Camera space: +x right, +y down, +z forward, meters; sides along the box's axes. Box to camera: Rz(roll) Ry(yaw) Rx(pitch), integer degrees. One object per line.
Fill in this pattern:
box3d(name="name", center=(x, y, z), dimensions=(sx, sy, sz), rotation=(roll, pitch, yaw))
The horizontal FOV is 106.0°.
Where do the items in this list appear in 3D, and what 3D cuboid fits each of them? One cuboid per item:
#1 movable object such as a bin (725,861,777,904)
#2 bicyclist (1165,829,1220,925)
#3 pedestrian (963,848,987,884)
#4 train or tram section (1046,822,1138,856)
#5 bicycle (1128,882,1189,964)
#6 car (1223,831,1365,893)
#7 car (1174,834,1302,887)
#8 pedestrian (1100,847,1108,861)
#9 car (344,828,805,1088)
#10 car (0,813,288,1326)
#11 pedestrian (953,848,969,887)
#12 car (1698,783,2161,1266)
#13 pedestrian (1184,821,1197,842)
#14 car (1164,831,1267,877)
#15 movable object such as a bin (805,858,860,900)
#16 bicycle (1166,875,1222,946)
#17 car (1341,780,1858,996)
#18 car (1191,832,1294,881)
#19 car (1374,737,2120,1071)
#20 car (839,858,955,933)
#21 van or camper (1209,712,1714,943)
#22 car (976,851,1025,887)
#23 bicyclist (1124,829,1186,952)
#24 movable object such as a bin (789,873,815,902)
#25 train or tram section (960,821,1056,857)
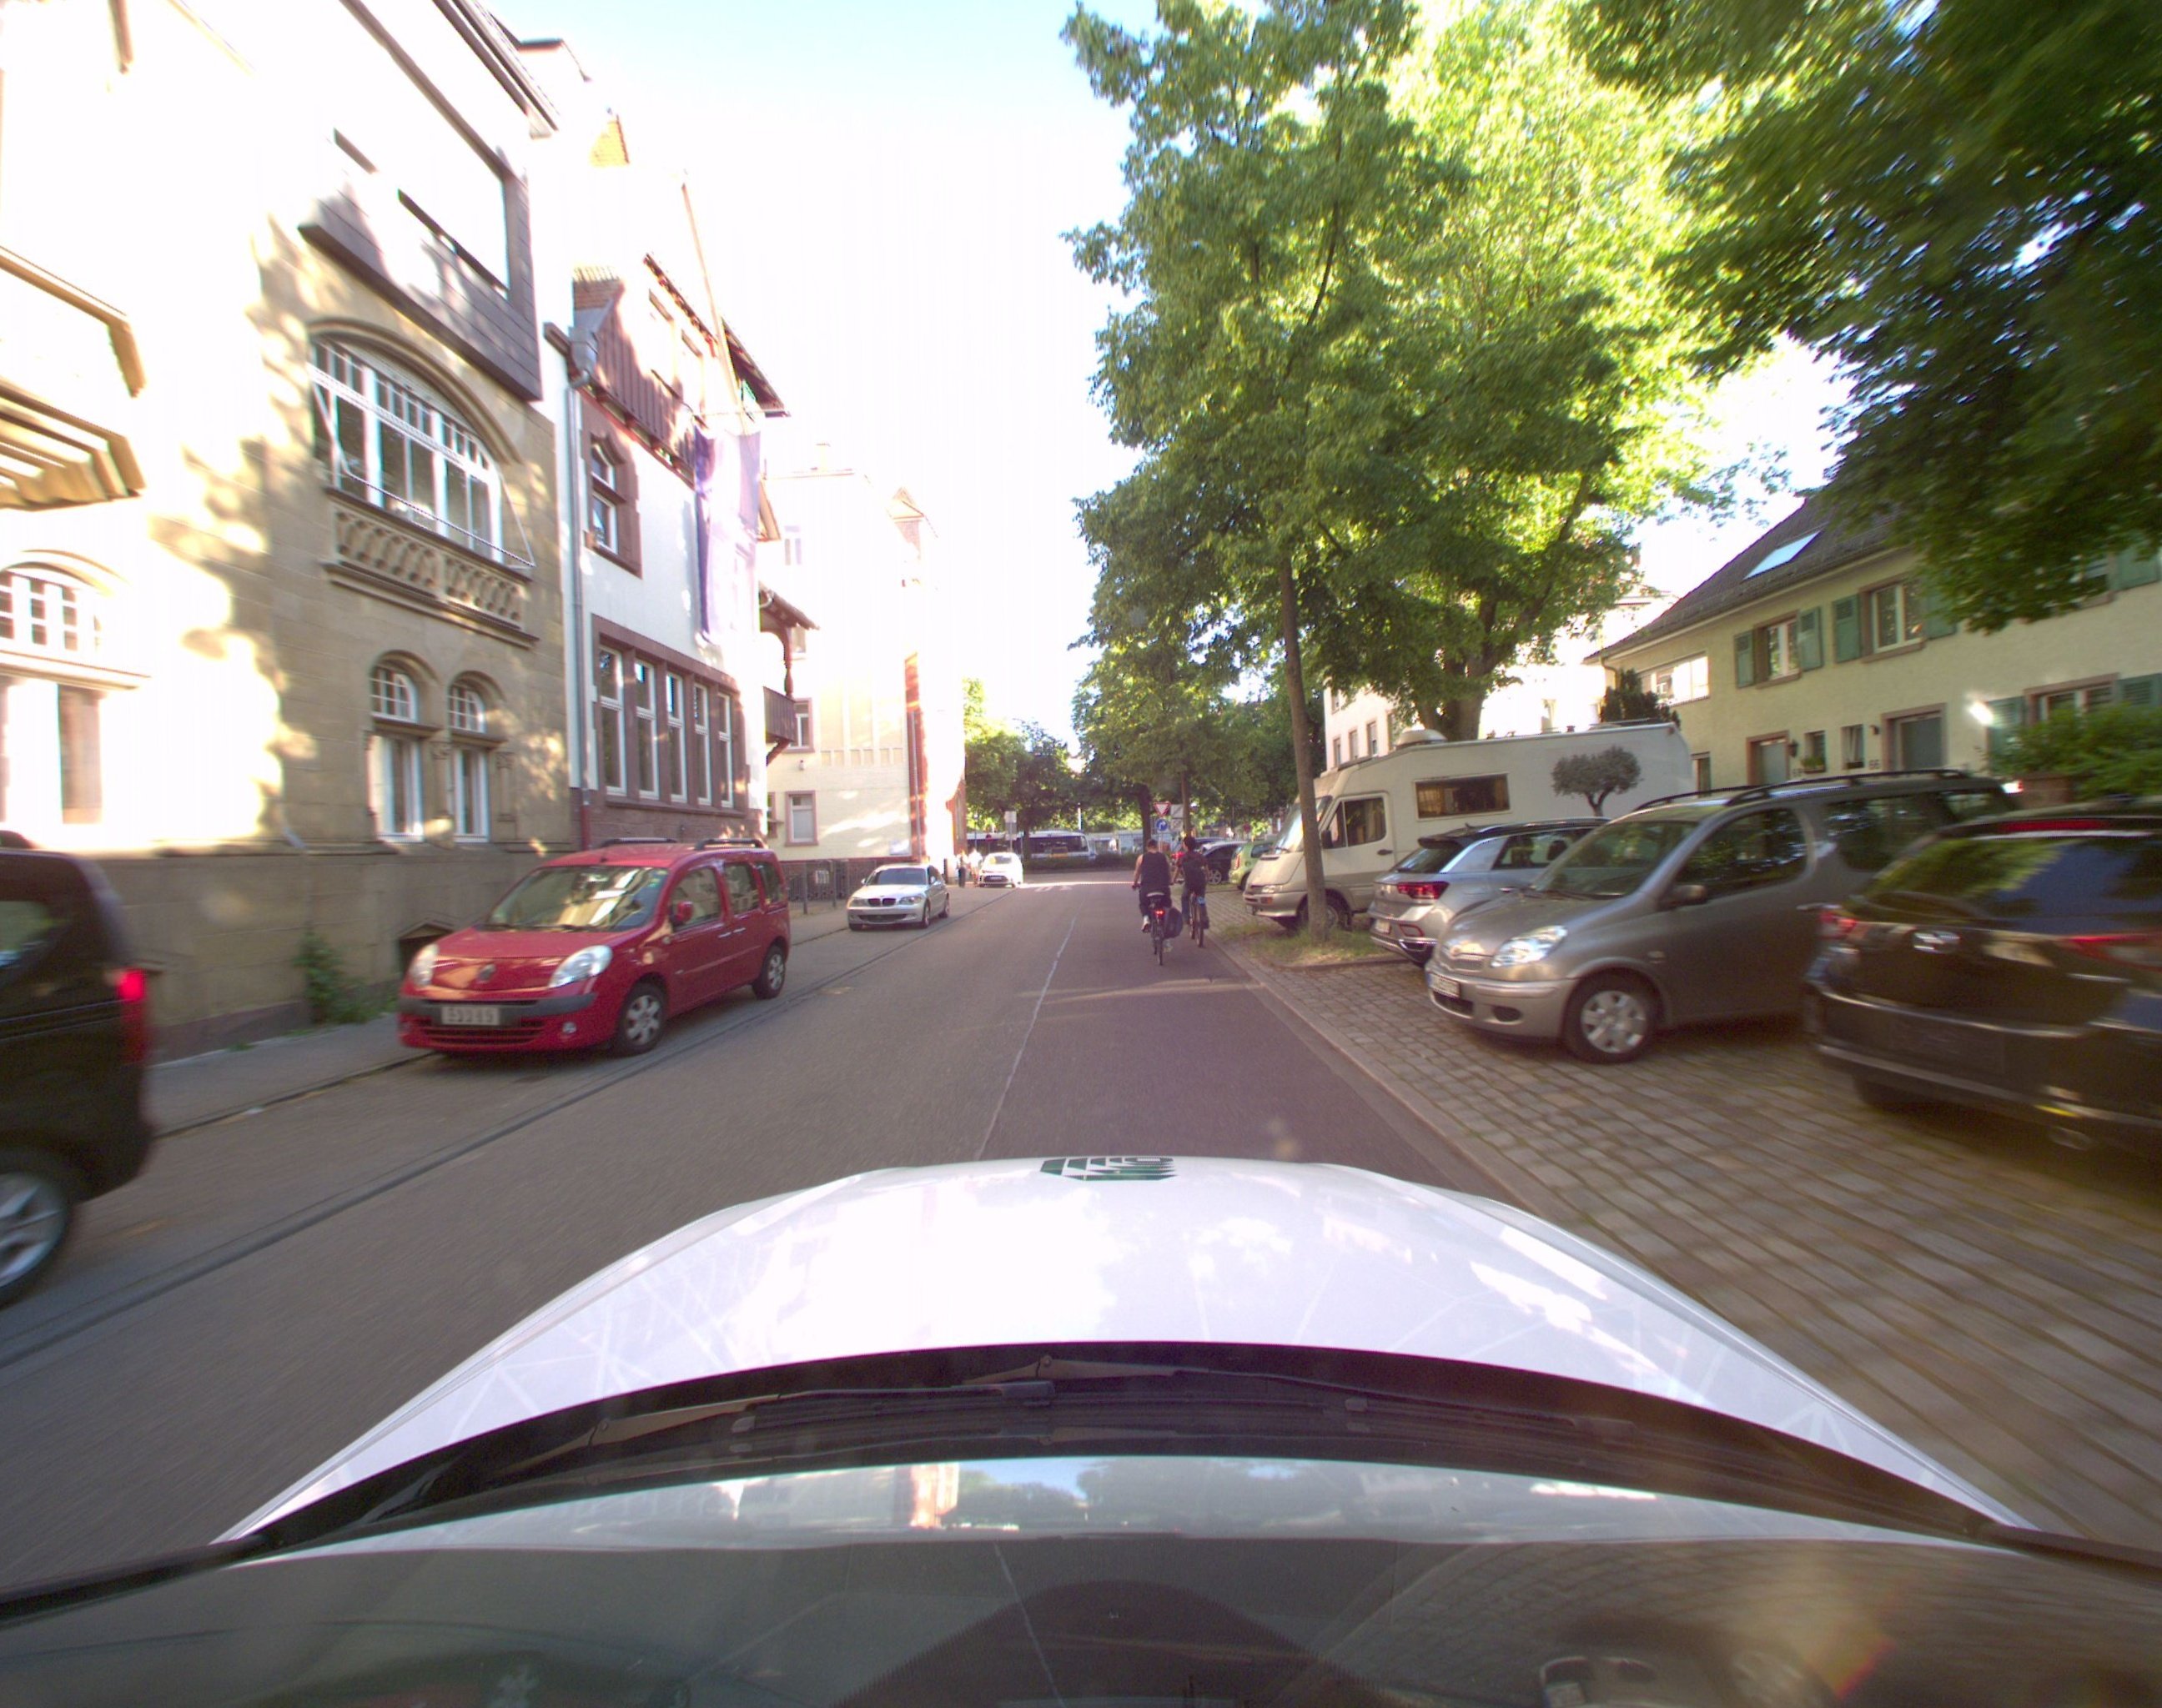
box3d(name="movable object such as a bin", center=(-10.852, 0.930, 26.793), dimensions=(1.378, 1.317, 0.686), rotation=(-2, 0, -6))
box3d(name="bicyclist", center=(1.852, 0.377, 13.644), dimensions=(0.669, 1.514, 1.068), rotation=(-3, -1, -1))
box3d(name="pedestrian", center=(-4.876, 0.544, 37.492), dimensions=(0.864, 1.643, 0.861), rotation=(-3, 0, 1))
box3d(name="train or tram section", center=(1.061, -1.495, 79.043), dimensions=(8.448, 3.201, 2.842), rotation=(-1, 0, -21))
box3d(name="bicycle", center=(1.083, 0.951, 11.798), dimensions=(0.735, 1.012, 2.062), rotation=(-1, 0, 2))
box3d(name="car", center=(6.053, 0.207, 23.422), dimensions=(3.576, 1.505, 1.678), rotation=(-4, 1, 1))
box3d(name="car", center=(5.467, 0.218, 28.736), dimensions=(4.089, 1.411, 1.793), rotation=(-5, 0, 1))
box3d(name="pedestrian", center=(2.607, -0.026, 93.012), dimensions=(0.809, 1.543, 0.818), rotation=(-1, 0, -10))
box3d(name="car", center=(-4.507, 0.763, 8.221), dimensions=(1.791, 1.906, 4.327), rotation=(-1, 0, 2))
box3d(name="car", center=(-4.845, 0.813, 1.704), dimensions=(1.763, 1.852, 4.544), rotation=(-2, 0, 2))
box3d(name="pedestrian", center=(-5.107, 0.581, 34.743), dimensions=(0.599, 1.605, 0.852), rotation=(-3, 0, -9))
box3d(name="car", center=(5.214, 0.403, 3.446), dimensions=(3.868, 1.472, 1.785), rotation=(-5, 0, -4))
box3d(name="pedestrian", center=(8.815, -1.818, 65.701), dimensions=(0.909, 1.684, 0.783), rotation=(-3, 0, 11))
box3d(name="car", center=(5.887, -0.015, 36.017), dimensions=(4.097, 1.712, 2.022), rotation=(-4, 1, -3))
box3d(name="movable object such as a bin", center=(-8.128, 0.819, 26.629), dimensions=(1.367, 1.299, 0.971), rotation=(-2, 0, 11))
box3d(name="bicycle", center=(1.881, 0.914, 13.780), dimensions=(0.671, 1.054, 2.061), rotation=(-2, -1, 1))
box3d(name="car", center=(4.969, 0.327, 8.345), dimensions=(3.945, 1.598, 1.905), rotation=(-6, -1, 4))
box3d(name="car", center=(6.190, 0.083, 31.486), dimensions=(3.675, 1.651, 1.706), rotation=(-3, 0, 5))
box3d(name="car", center=(4.464, 0.319, 5.964), dimensions=(3.900, 1.744, 1.730), rotation=(-5, 0, 1))
box3d(name="car", center=(-4.159, 0.875, 19.081), dimensions=(1.738, 1.466, 4.102), rotation=(-2, 0, 0))
box3d(name="van or camper", center=(5.881, -0.412, 13.344), dimensions=(7.056, 3.077, 2.464), rotation=(-3, 0, -1))
box3d(name="car", center=(-3.585, 0.640, 36.718), dimensions=(1.698, 1.485, 3.799), rotation=(-1, 0, 2))
box3d(name="bicyclist", center=(1.055, 0.509, 11.800), dimensions=(0.749, 1.682, 0.914), rotation=(-3, 0, 2))
box3d(name="movable object such as a bin", center=(-8.972, 1.067, 26.236), dimensions=(0.477, 0.879, 0.675), rotation=(-2, 0, 11))
box3d(name="train or tram section", center=(-6.826, -1.388, 75.964), dimensions=(8.448, 3.177, 2.842), rotation=(-1, 0, -21))
